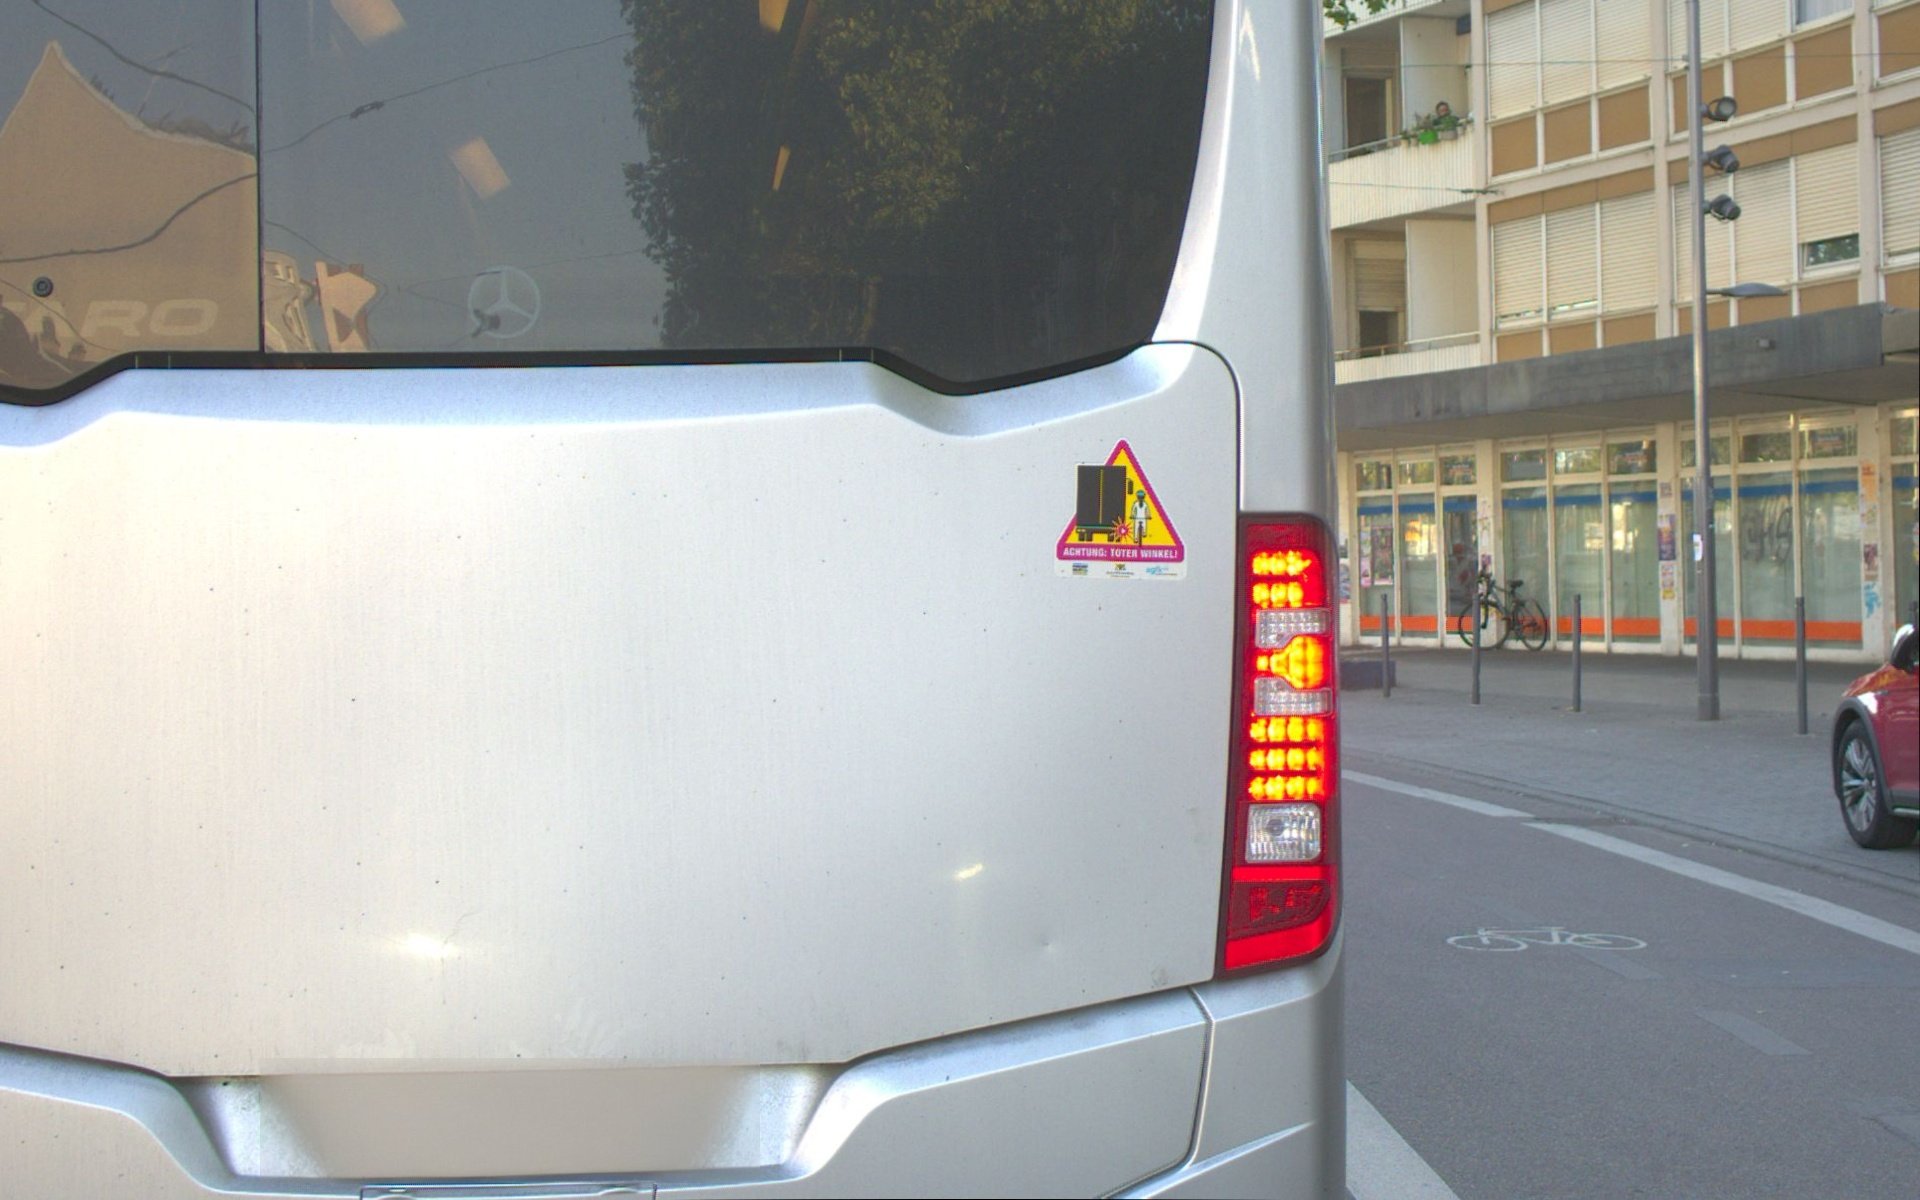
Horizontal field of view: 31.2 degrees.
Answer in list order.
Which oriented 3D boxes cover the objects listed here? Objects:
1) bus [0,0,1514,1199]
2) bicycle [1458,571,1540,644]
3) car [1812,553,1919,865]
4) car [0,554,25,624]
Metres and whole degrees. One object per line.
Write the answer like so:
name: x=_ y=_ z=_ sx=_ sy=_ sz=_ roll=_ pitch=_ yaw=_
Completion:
bus: x=-0.738 y=-0.141 z=9.814 sx=2.630 sy=3.017 sz=9.998 roll=0 pitch=1 yaw=-2
bicycle: x=7.148 y=0.092 z=45.625 sx=0.412 sy=0.941 sz=1.441 roll=-1 pitch=1 yaw=-20
car: x=5.517 y=0.507 z=15.864 sx=1.769 sy=1.477 sz=4.304 roll=-2 pitch=1 yaw=-4
car: x=-25.830 y=-0.299 z=88.227 sx=1.994 sy=1.785 sz=3.998 roll=1 pitch=0 yaw=-41
